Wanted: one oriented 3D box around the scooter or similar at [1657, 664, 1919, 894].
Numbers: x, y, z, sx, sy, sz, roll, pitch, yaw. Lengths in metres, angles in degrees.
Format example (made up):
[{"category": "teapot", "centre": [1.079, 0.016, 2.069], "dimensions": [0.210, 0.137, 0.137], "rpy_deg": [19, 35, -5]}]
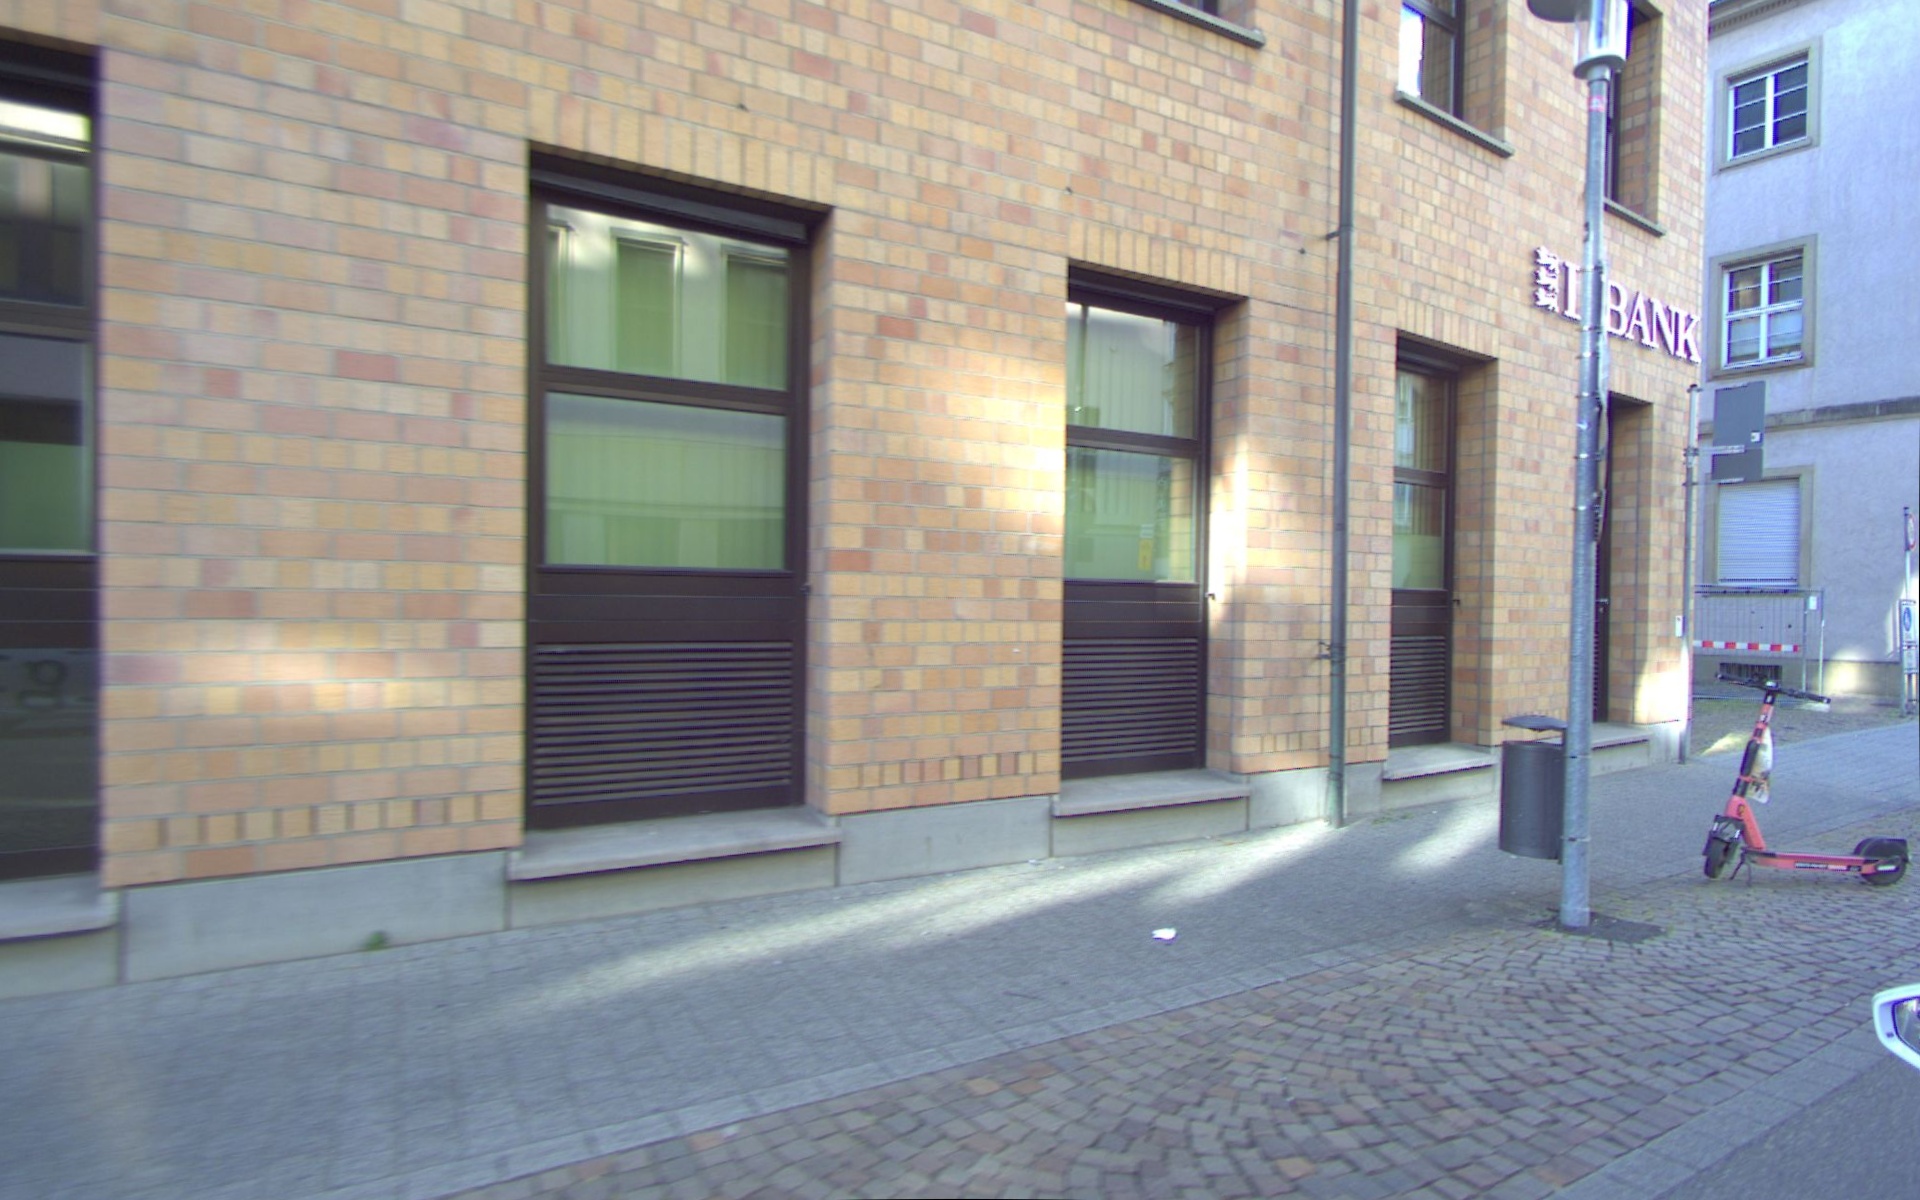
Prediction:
[{"category": "scooter or similar", "centre": [5.032, 1.019, 5.955], "dimensions": [1.331, 1.233, 0.700], "rpy_deg": [0, 0, -3]}]
